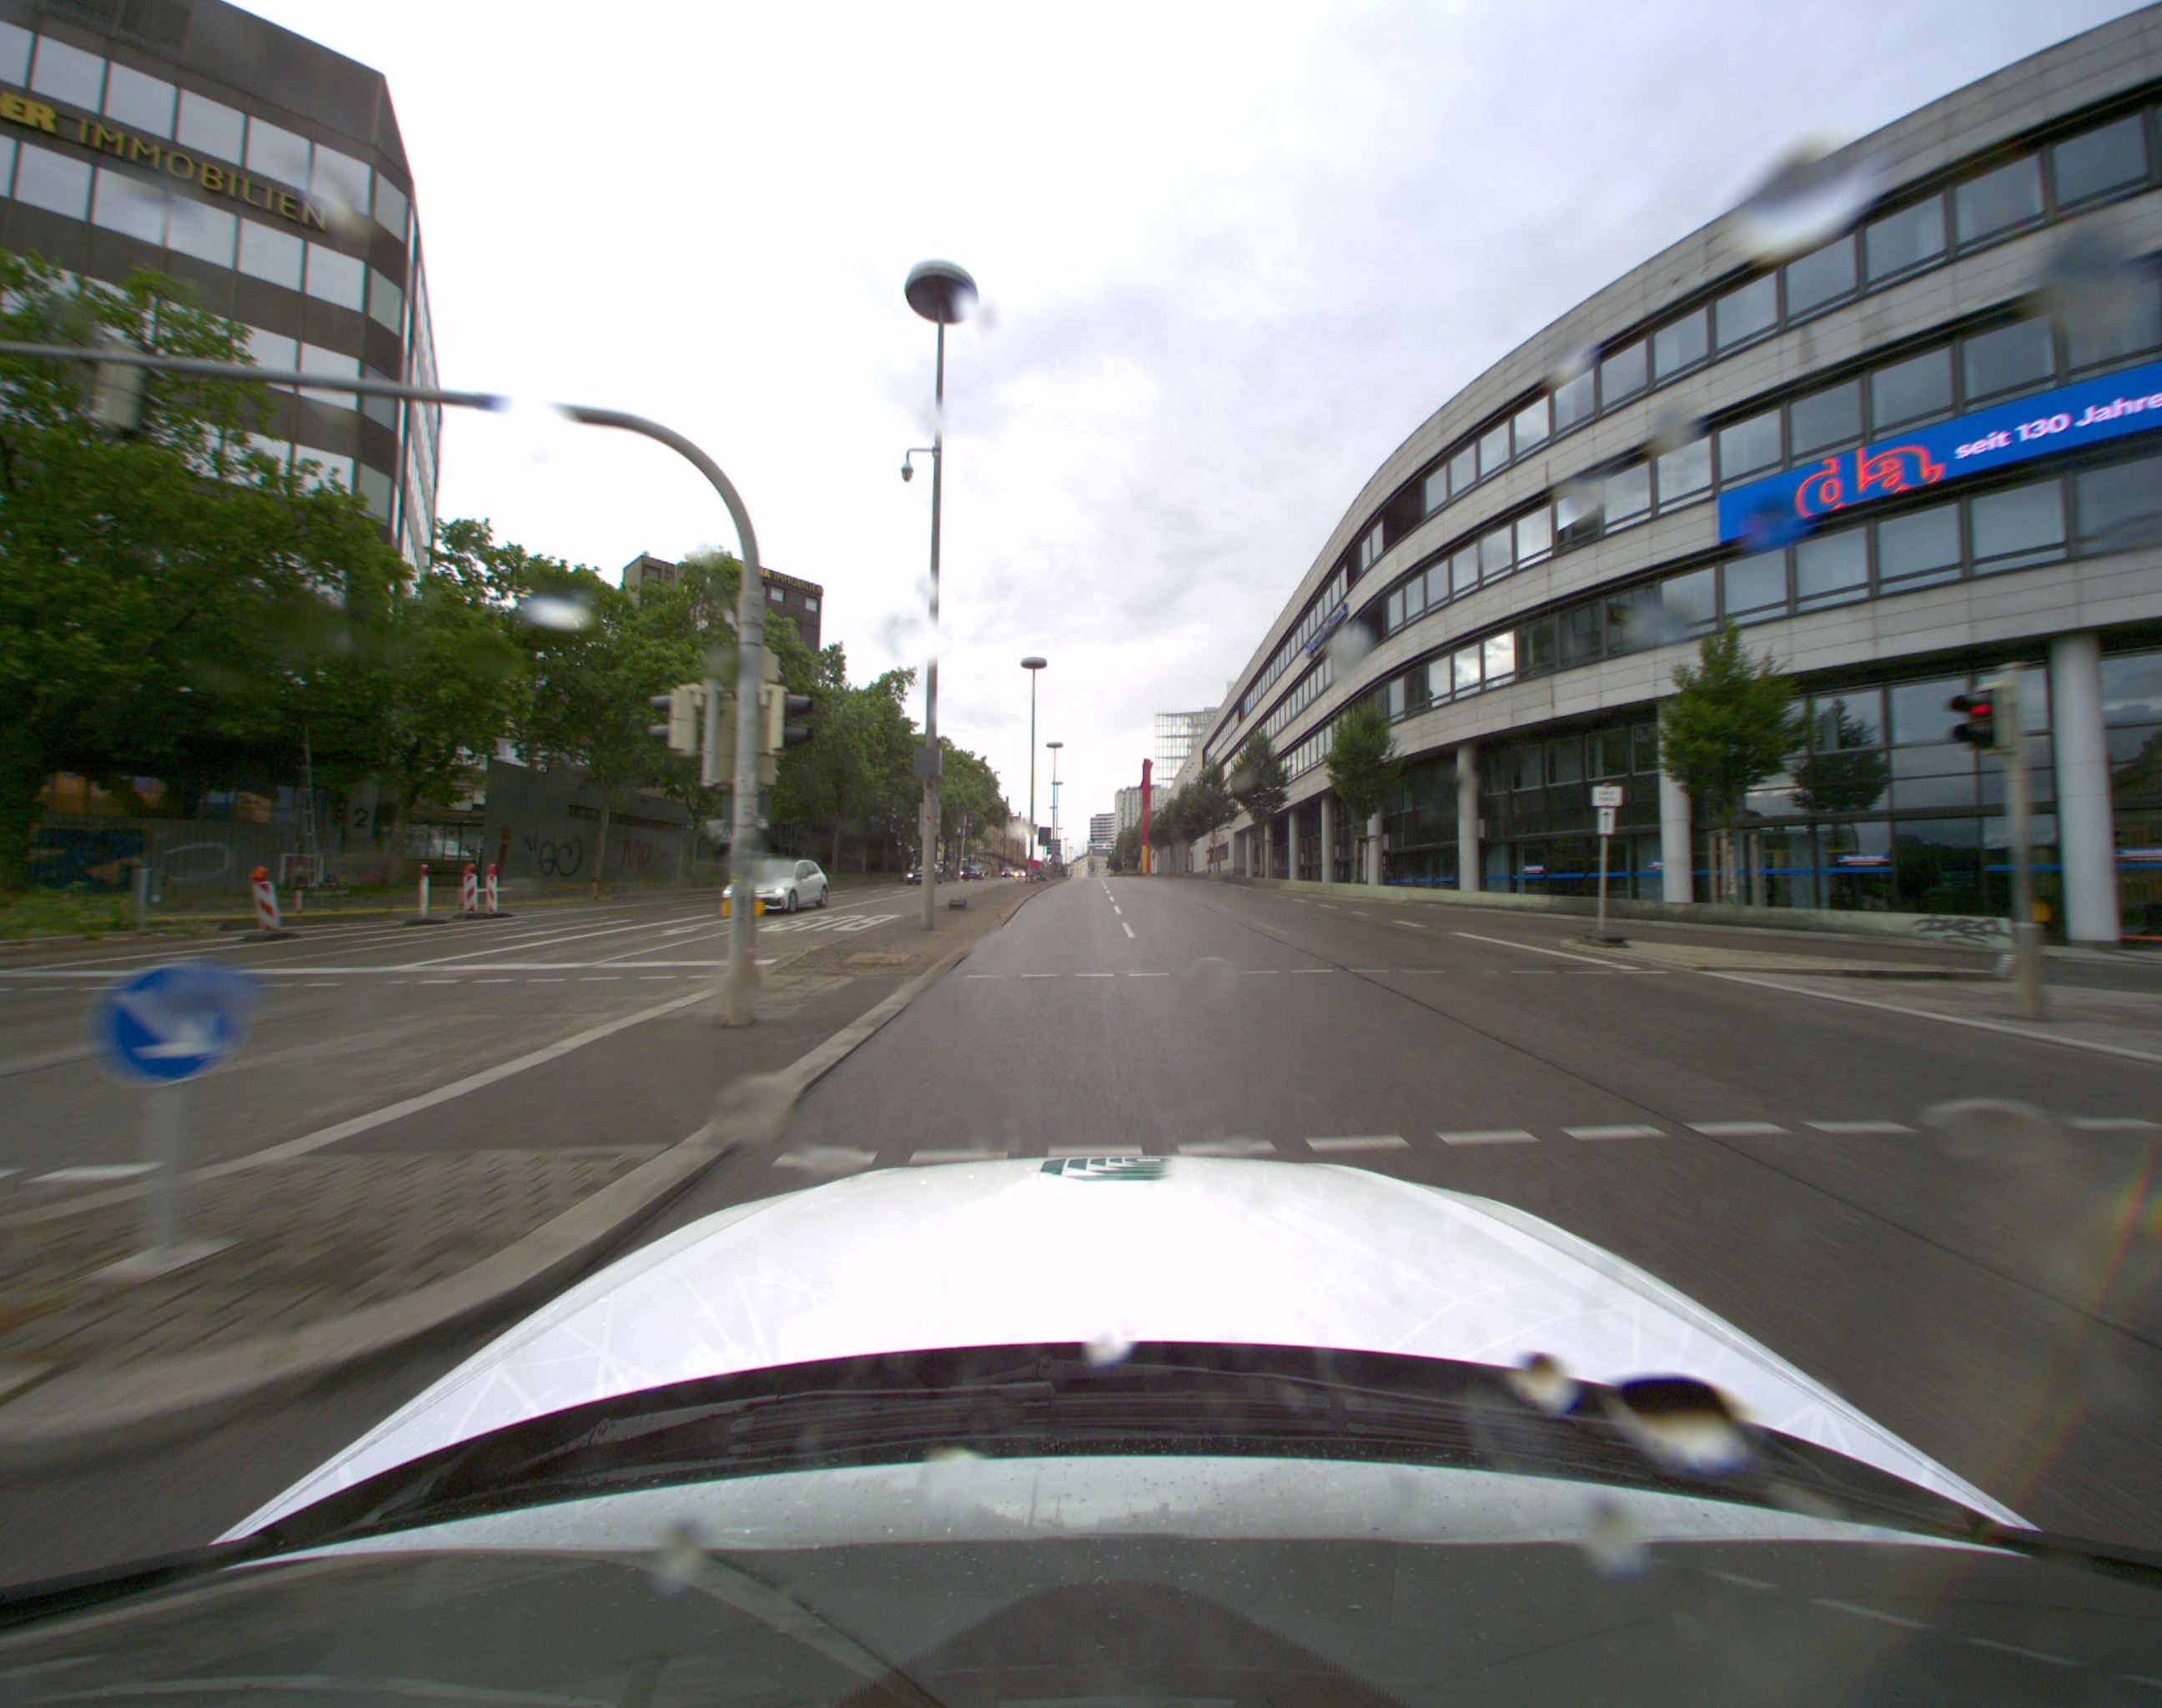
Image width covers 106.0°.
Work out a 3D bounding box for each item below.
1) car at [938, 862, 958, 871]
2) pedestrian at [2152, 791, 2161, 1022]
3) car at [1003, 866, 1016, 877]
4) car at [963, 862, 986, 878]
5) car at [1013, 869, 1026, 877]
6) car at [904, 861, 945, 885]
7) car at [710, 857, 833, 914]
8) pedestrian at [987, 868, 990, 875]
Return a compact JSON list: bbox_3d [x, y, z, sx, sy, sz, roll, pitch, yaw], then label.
[{"bbox_3d":[-26.562,2.508,162.373,3.619,1.701,1.823,-2,-3,-3],"label":"car"},{"bbox_3d":[8.837,0.442,6.018,0.832,1.905,0.736,-1,-2,27],"label":"pedestrian"},{"bbox_3d":[-9.988,2.462,114.028,1.682,1.410,3.995,-1,-1,-3],"label":"car"},{"bbox_3d":[-10.336,1.566,79.353,1.602,1.473,4.069,-1,-1,2],"label":"car"},{"bbox_3d":[-11.266,3.529,149.848,1.812,1.403,4.002,-2,-3,3],"label":"car"},{"bbox_3d":[-10.393,1.251,54.281,1.801,1.448,4.339,-1,0,0],"label":"car"},{"bbox_3d":[-8.706,0.826,23.329,1.755,1.460,4.360,-1,0,1],"label":"car"},{"bbox_3d":[-18.809,3.559,165.600,0.496,1.611,0.500,0,-3,3],"label":"pedestrian"}]
